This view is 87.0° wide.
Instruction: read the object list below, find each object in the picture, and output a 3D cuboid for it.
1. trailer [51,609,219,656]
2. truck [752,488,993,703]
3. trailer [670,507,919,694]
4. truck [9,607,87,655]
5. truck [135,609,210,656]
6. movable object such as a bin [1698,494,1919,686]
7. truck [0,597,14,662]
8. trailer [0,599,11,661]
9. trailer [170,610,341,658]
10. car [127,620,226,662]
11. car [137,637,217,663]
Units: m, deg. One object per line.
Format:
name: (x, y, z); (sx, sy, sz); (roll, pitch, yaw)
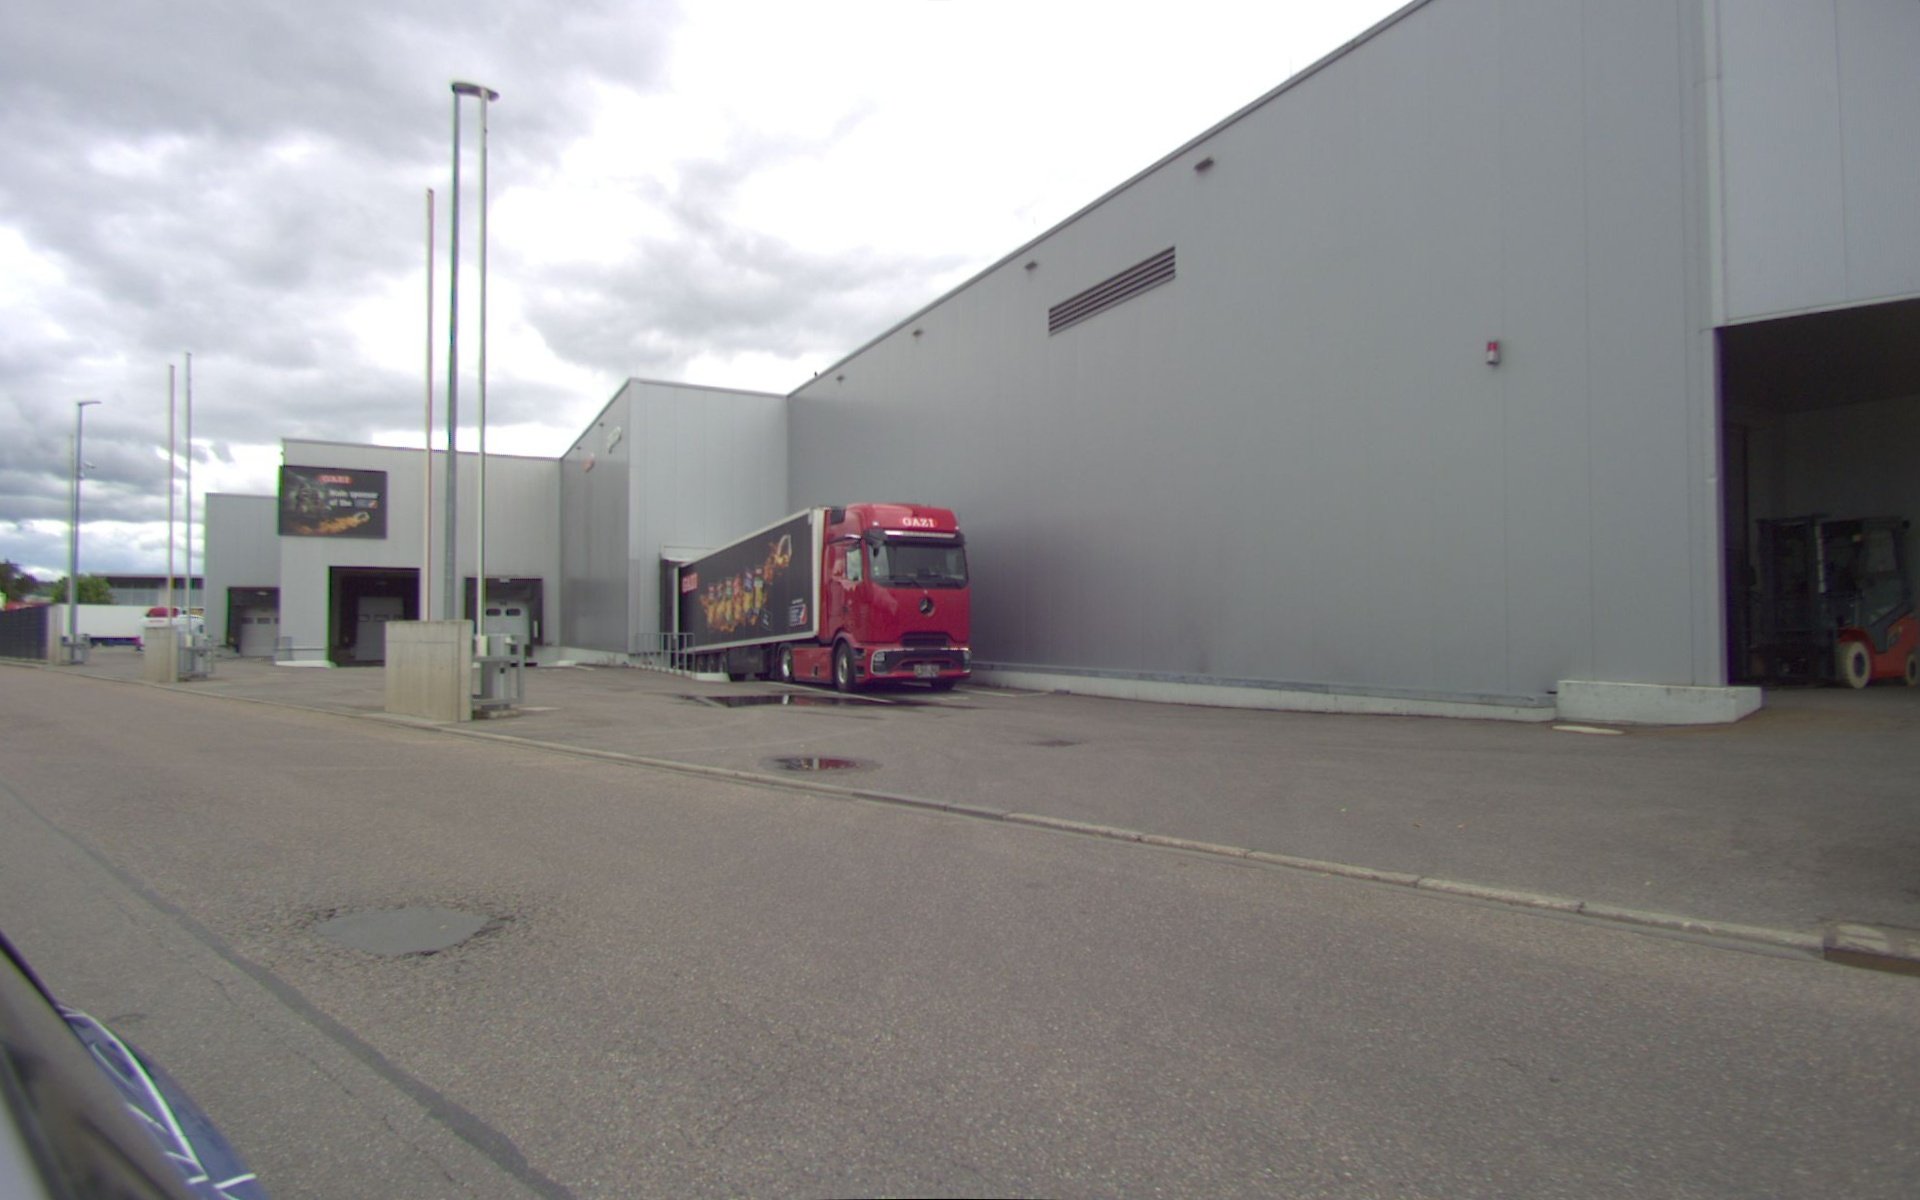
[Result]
trailer: (-78.249, 3.213, 96.433); (11.842, 4.164, 3.057); (3, -4, -31)
truck: (-2.279, 0.033, 22.863); (2.704, 4.062, 7.114); (0, -2, -29)
trailer: (-5.212, 0.227, 28.201); (2.704, 4.062, 12.656); (0, -2, -29)
truck: (-83.326, 2.907, 92.545); (3.047, 4.164, 4.815); (-2, -4, 41)
truck: (-72.847, 3.062, 93.716); (4.797, 4.237, 3.058); (2, -4, -27)
movable object such as a bin: (11.116, -0.071, 13.056); (2.117, 2.239, 1.758); (1, -2, -27)
truck: (-65.337, 1.964, 67.125); (5.629, 4.192, 3.321); (-2, -5, 44)
trailer: (-70.332, 2.154, 72.026); (13.853, 4.192, 3.321); (-2, -4, 44)
trailer: (-66.988, 3.298, 96.726); (12.962, 4.245, 3.058); (2, -4, -27)
car: (-55.930, 2.933, 72.399); (5.341, 2.751, 2.248); (-1, -2, -31)
car: (-52.983, 3.360, 68.595); (4.010, 1.589, 1.950); (-1, -2, -28)
